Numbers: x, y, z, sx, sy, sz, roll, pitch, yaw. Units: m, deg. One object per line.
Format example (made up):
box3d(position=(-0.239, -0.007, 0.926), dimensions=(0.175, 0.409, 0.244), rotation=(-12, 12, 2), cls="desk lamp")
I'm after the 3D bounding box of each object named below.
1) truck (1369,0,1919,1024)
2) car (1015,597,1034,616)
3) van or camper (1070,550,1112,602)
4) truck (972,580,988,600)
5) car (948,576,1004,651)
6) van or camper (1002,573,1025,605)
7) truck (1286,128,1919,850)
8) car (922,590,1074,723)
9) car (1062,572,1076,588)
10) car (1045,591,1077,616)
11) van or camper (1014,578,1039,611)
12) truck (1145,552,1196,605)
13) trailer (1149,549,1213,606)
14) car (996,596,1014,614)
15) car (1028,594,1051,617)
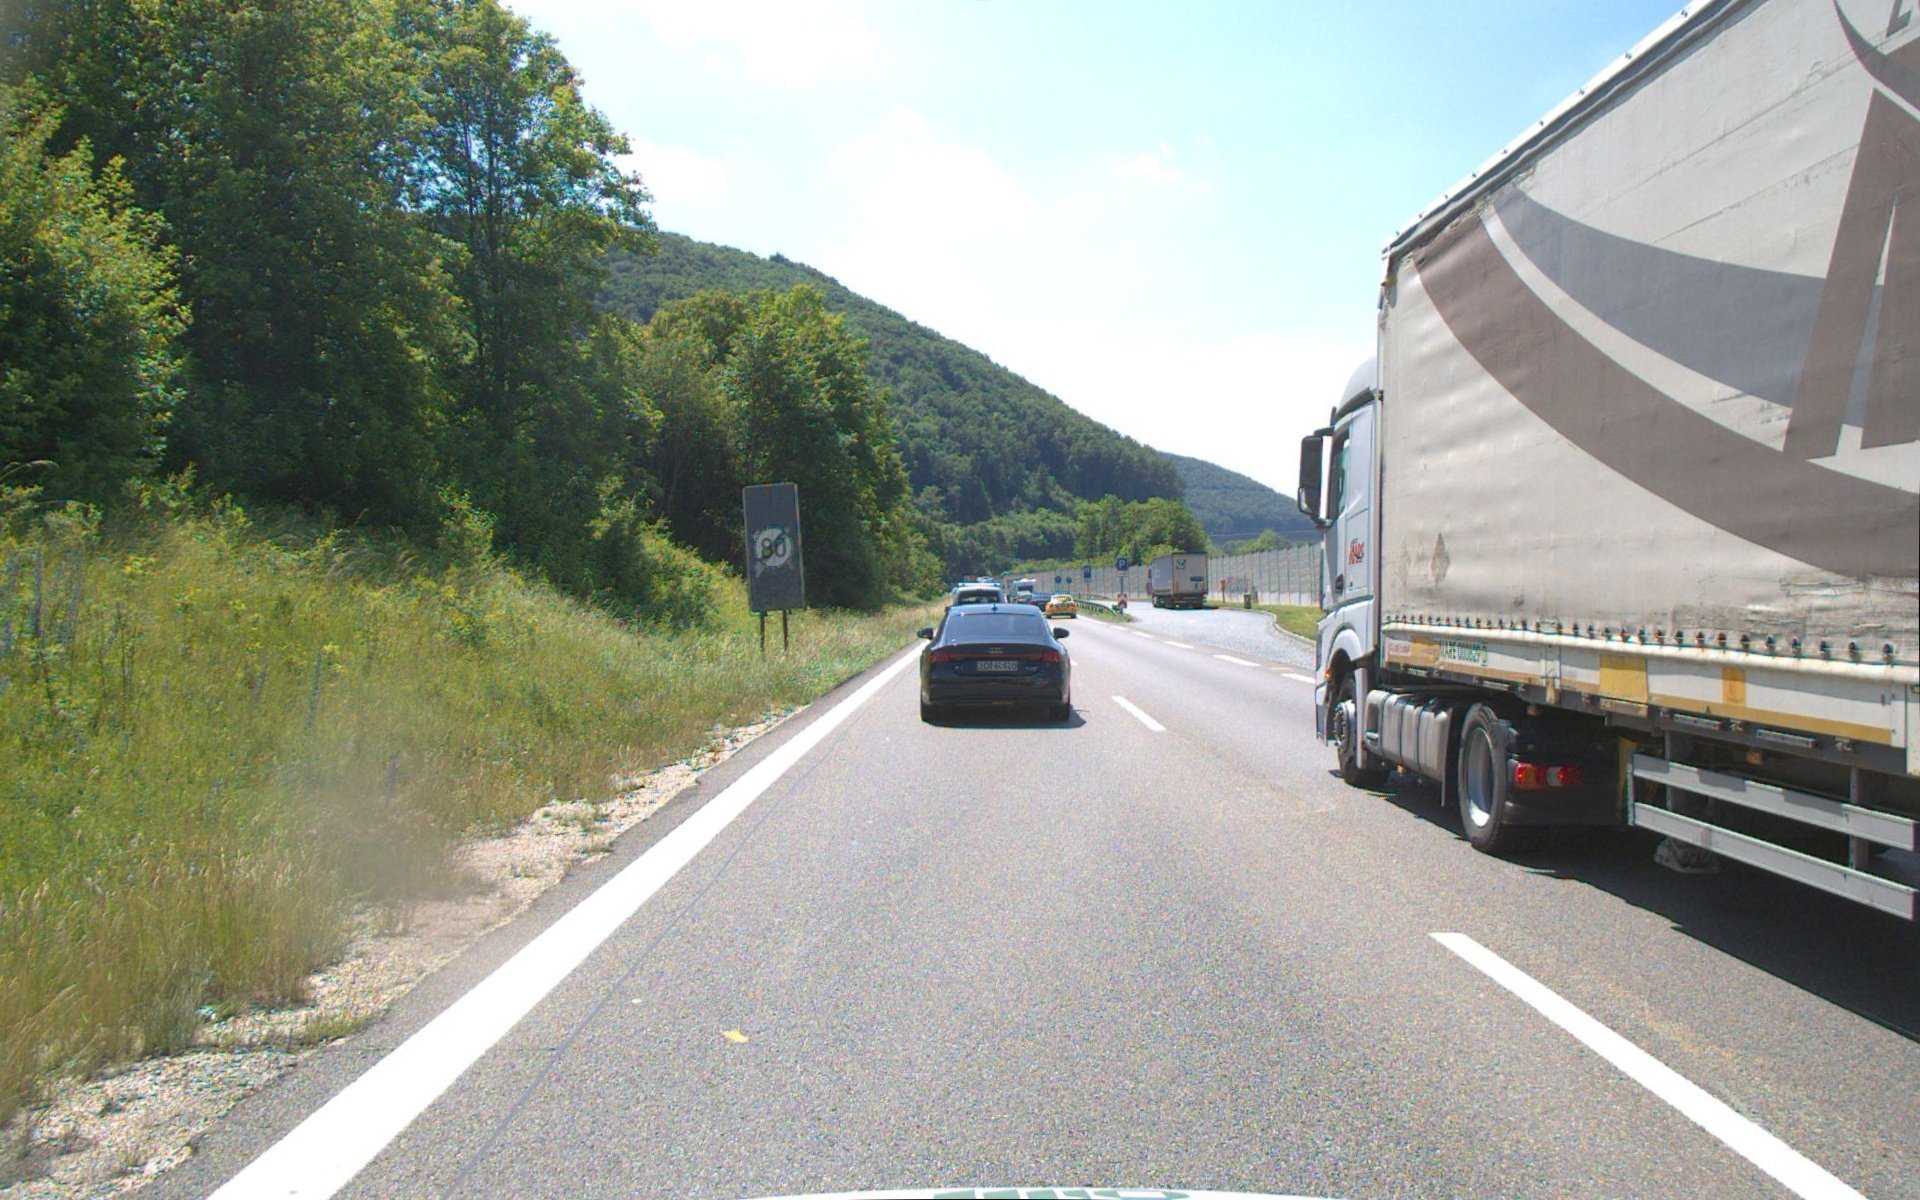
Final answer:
box3d(position=(4.472, -0.678, 5.487), dimensions=(2.670, 4.139, 13.738), rotation=(0, -1, -1), cls="truck")
box3d(position=(5.351, 0.549, 137.506), dimensions=(1.498, 1.552, 3.597), rotation=(1, -1, 1), cls="car")
box3d(position=(10.378, -1.865, 131.373), dimensions=(2.738, 3.909, 6.165), rotation=(1, -1, -1), cls="van or camper")
box3d(position=(2.886, -1.422, 237.321), dimensions=(2.021, 2.651, 5.616), rotation=(2, 0, 3), cls="truck")
box3d(position=(0.455, 0.381, 47.472), dimensions=(1.490, 2.003, 3.514), rotation=(2, 0, 0), cls="car")
box3d(position=(7.000, -1.452, 217.191), dimensions=(2.738, 3.975, 6.165), rotation=(1, -1, -1), cls="van or camper")
box3d(position=(4.383, -0.611, 12.400), dimensions=(2.664, 4.139, 5.753), rotation=(0, -1, -1), cls="truck")
box3d(position=(0.493, 0.658, 21.081), dimensions=(1.774, 1.541, 3.515), rotation=(0, 0, 1), cls="car")
box3d(position=(13.884, -2.553, 210.951), dimensions=(1.544, 2.049, 3.428), rotation=(-1, 0, 1), cls="car")
box3d(position=(6.294, 0.201, 103.103), dimensions=(1.840, 1.525, 4.001), rotation=(0, 0, 1), cls="car")
box3d(position=(6.760, -0.528, 168.279), dimensions=(2.379, 3.210, 5.204), rotation=(1, -1, 1), cls="van or camper")
box3d(position=(16.258, -1.644, 128.199), dimensions=(3.341, 3.968, 5.388), rotation=(0, 0, 1), cls="truck")
box3d(position=(16.178, -1.602, 122.028), dimensions=(3.341, 3.968, 11.152), rotation=(0, 0, 1), cls="trailer")
box3d(position=(5.306, 0.619, 195.334), dimensions=(1.953, 2.049, 3.999), rotation=(1, -1, -1), cls="car")
box3d(position=(5.656, 0.427, 118.161), dimensions=(1.498, 1.552, 3.597), rotation=(1, -1, 1), cls="car")
